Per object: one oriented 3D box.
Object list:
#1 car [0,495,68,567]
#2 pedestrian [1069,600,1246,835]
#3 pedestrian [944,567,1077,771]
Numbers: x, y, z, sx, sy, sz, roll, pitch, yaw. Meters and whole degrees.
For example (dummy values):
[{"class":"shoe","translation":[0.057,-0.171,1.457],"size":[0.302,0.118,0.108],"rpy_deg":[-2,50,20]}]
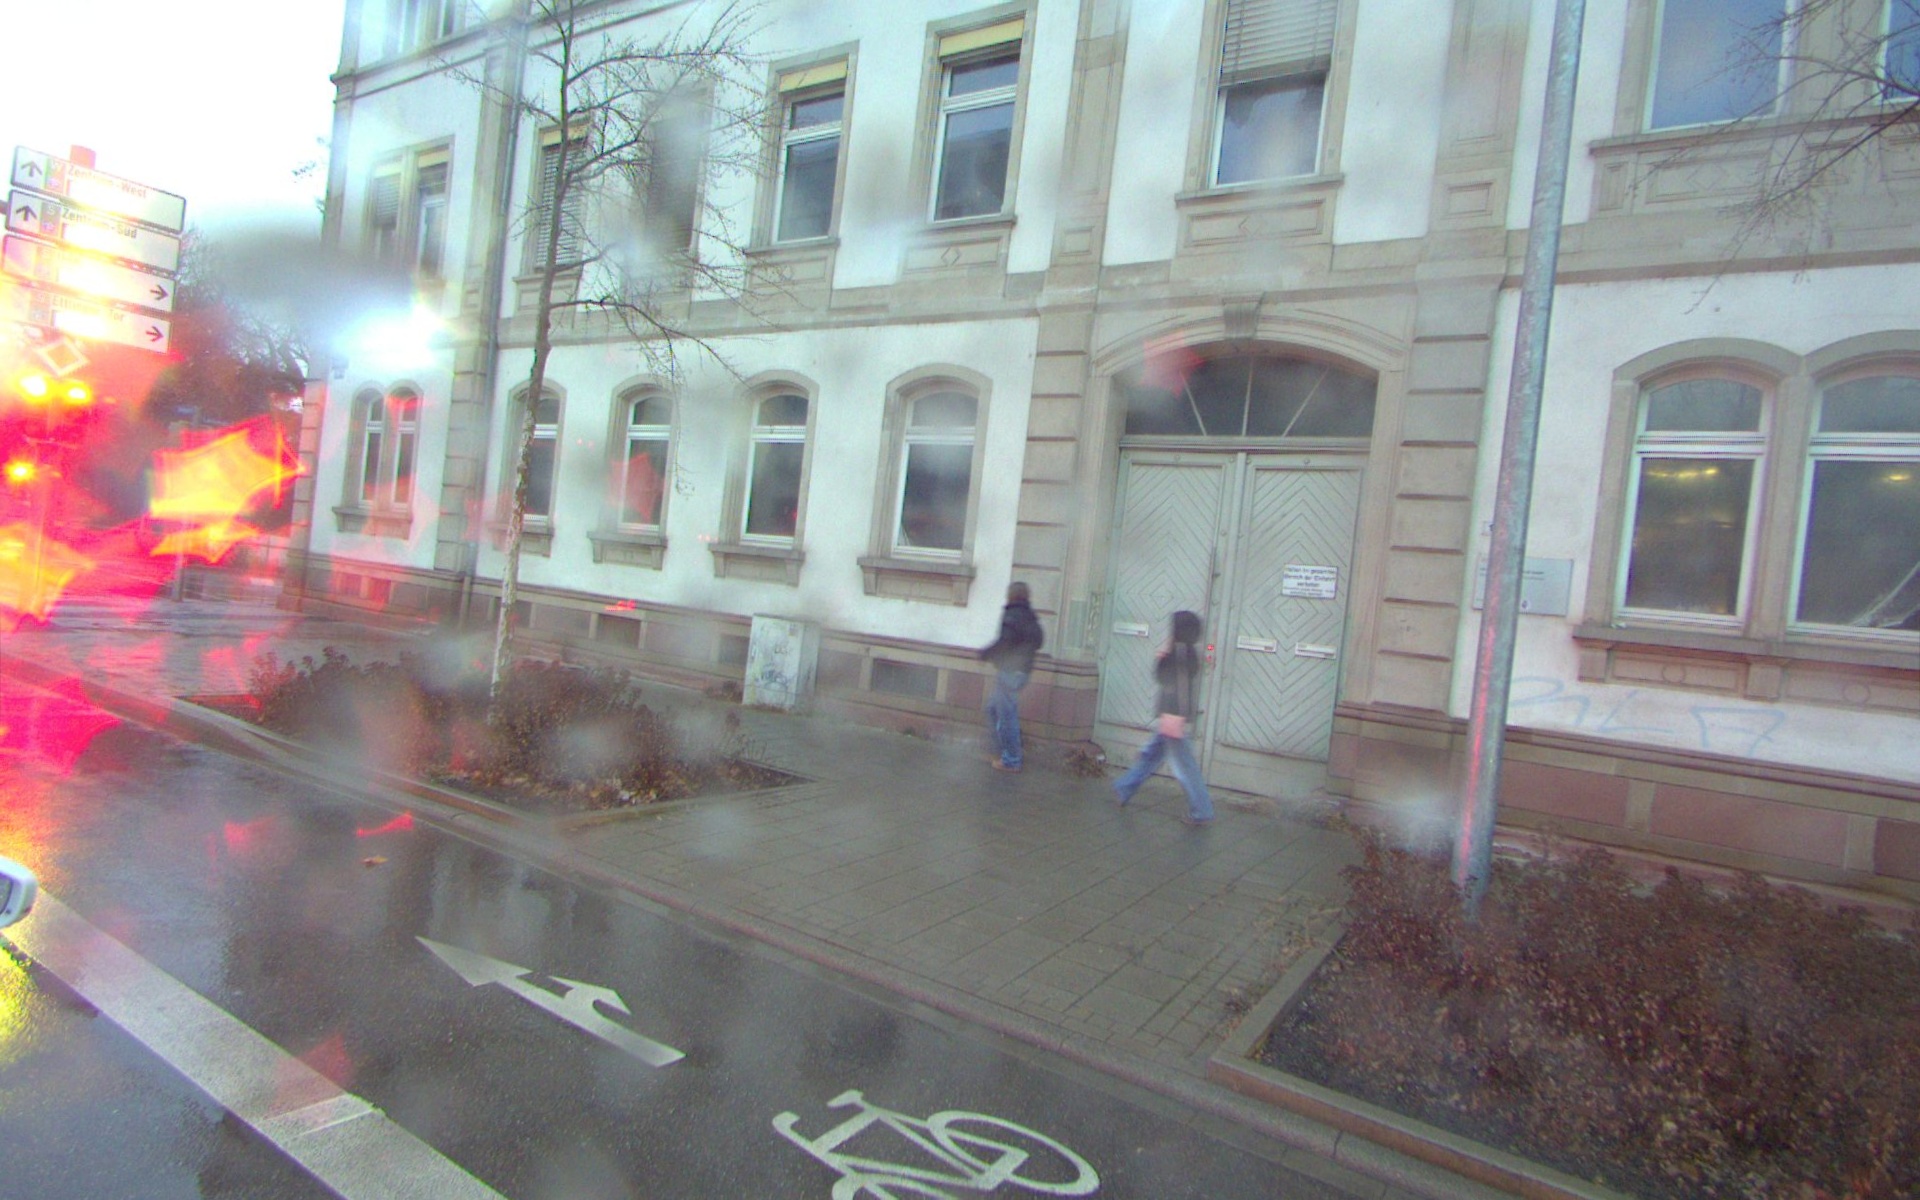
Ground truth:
[{"class":"car","translation":[-22.494,-1.742,22.194],"size":[4.082,1.458,1.818],"rpy_deg":[9,-2,-44]},{"class":"pedestrian","translation":[1.512,0.854,7.649],"size":[0.914,1.564,0.869],"rpy_deg":[7,1,32]},{"class":"pedestrian","translation":[0.468,0.615,9.116],"size":[0.695,1.694,0.869],"rpy_deg":[7,1,33]}]
